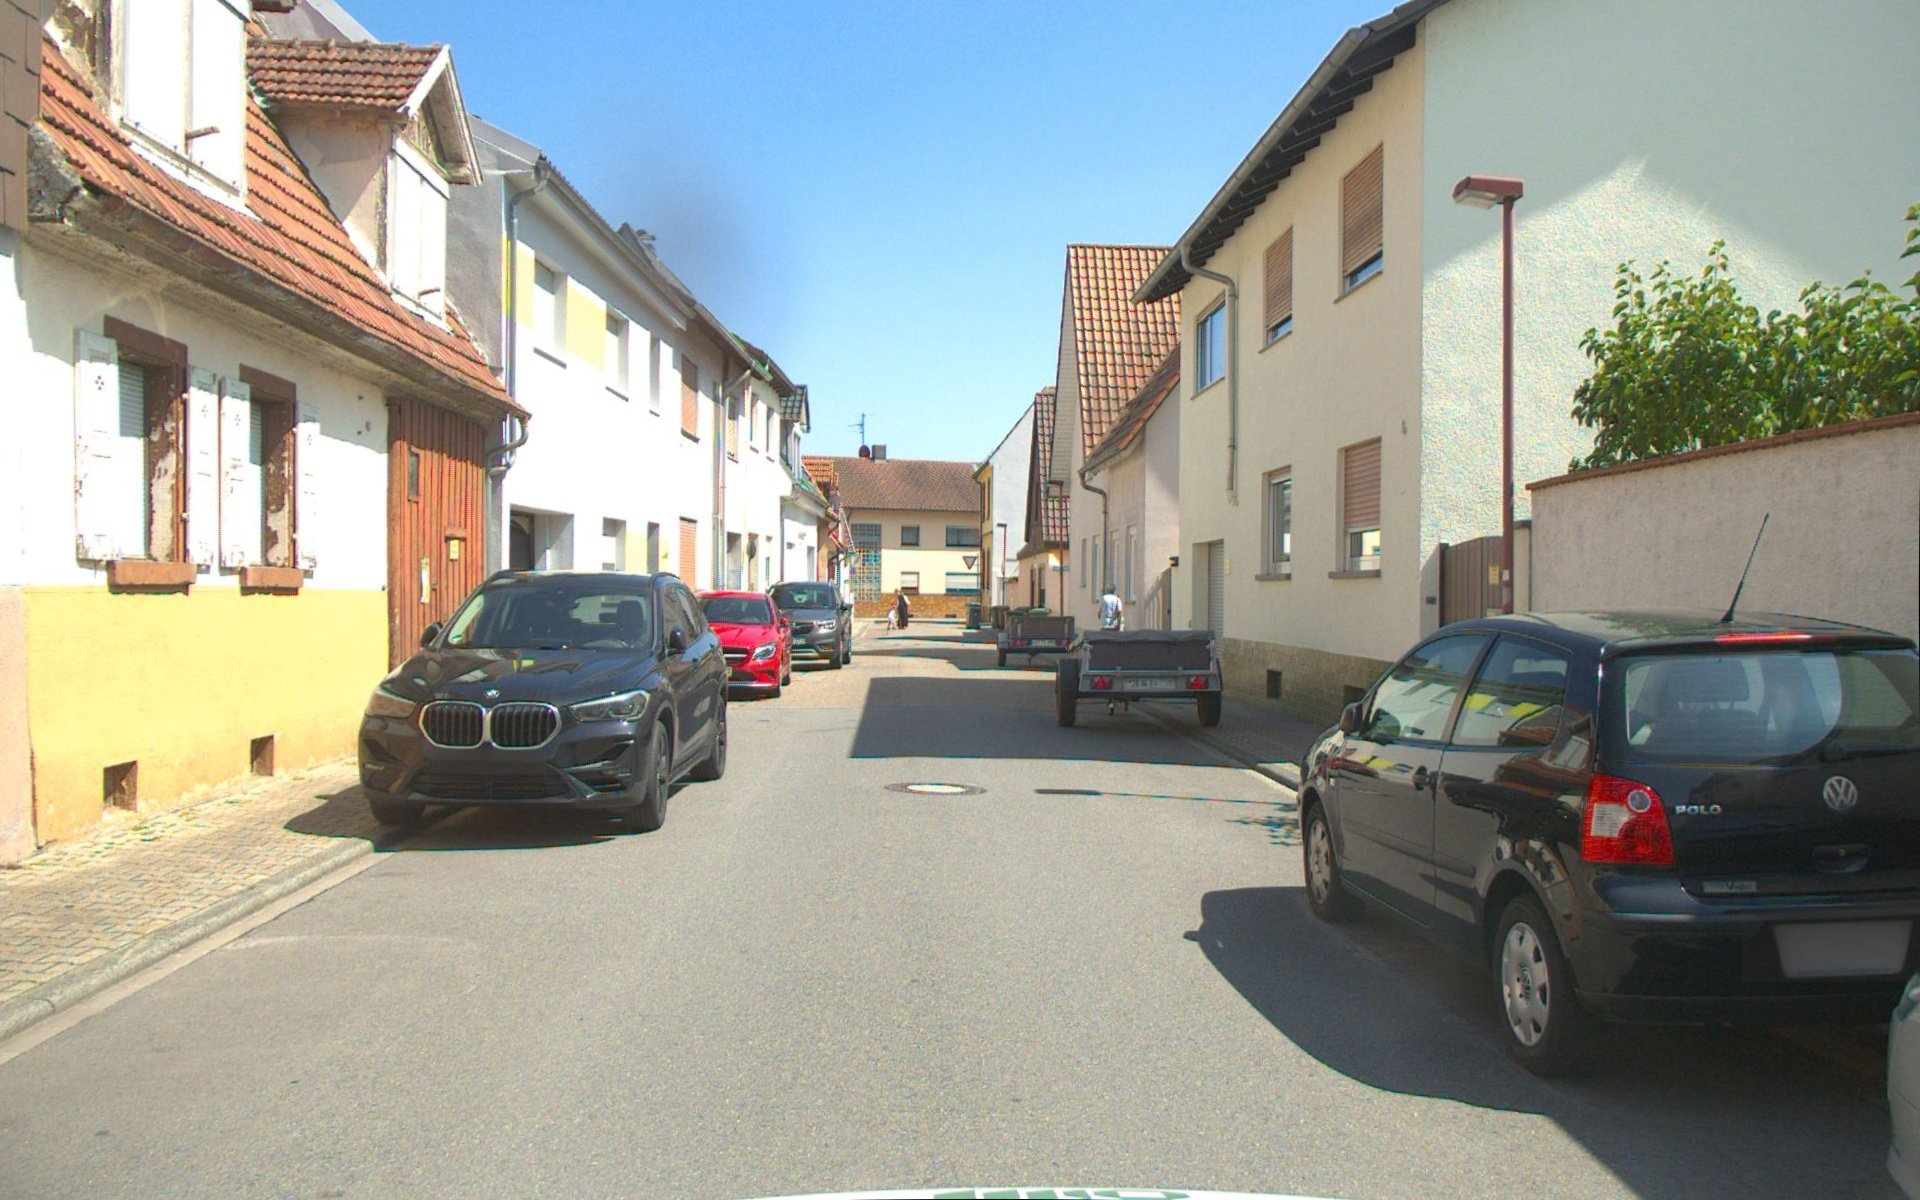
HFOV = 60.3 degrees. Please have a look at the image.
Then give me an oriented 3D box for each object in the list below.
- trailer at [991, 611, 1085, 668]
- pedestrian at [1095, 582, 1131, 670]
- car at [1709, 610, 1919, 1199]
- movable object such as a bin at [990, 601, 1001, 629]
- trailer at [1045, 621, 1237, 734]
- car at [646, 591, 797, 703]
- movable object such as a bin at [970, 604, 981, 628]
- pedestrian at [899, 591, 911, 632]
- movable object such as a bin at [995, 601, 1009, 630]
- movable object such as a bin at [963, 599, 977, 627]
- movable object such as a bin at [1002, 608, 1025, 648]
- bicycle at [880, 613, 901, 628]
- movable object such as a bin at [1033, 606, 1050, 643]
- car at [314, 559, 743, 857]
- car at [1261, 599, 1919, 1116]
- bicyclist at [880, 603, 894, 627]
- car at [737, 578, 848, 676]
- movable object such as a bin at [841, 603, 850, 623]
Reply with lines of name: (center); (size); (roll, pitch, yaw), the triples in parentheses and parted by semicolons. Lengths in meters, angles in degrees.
trailer: (1.548, 0.778, 33.778); (1.665, 1.051, 3.480); (0, 0, -2)
pedestrian: (2.841, 0.488, 30.692); (0.584, 1.592, 0.556); (0, -4, -4)
car: (2.833, 0.770, 1.630); (1.755, 1.507, 4.931); (-2, 0, -3)
movable object such as a bin: (1.447, 0.627, 68.257); (0.417, 1.147, 0.413); (0, 0, -4)
trailer: (1.984, 0.835, 19.006); (1.780, 1.109, 3.480); (0, 0, -1)
car: (-3.348, 0.614, 23.949); (1.764, 1.466, 4.484); (0, 0, -3)
movable object such as a bin: (0.655, 0.683, 68.794); (0.415, 0.992, 0.473); (0, 0, -4)
pedestrian: (-2.209, 0.443, 66.514); (0.404, 1.638, 0.367); (0, 0, -11)
movable object such as a bin: (1.654, 0.628, 65.697); (0.515, 1.147, 0.366); (0, 0, -4)
movable object such as a bin: (0.436, 0.539, 69.395); (0.558, 1.147, 0.453); (0, 0, -4)
movable object such as a bin: (1.413, 0.746, 43.856); (0.573, 1.051, 0.595); (0, 0, -3)
bicycle: (-2.770, 0.815, 65.944); (0.436, 0.577, 0.930); (0, 0, -30)
movable object such as a bin: (2.480, 0.740, 50.406); (0.448, 1.106, 0.502); (0, 0, -3)
car: (-2.658, 0.585, 11.342); (1.763, 1.601, 4.614); (-1, 0, -1)
car: (2.549, 0.731, 6.828); (1.616, 1.461, 4.131); (0, 0, -4)
bicyclist: (-2.908, 0.593, 66.041); (0.456, 0.975, 0.348); (0, 1, -30)
car: (-3.145, 0.480, 31.879); (1.763, 1.733, 4.486); (-1, 0, -2)
movable object such as a bin: (-5.164, 0.587, 74.638); (0.439, 0.937, 0.404); (0, 0, -4)
